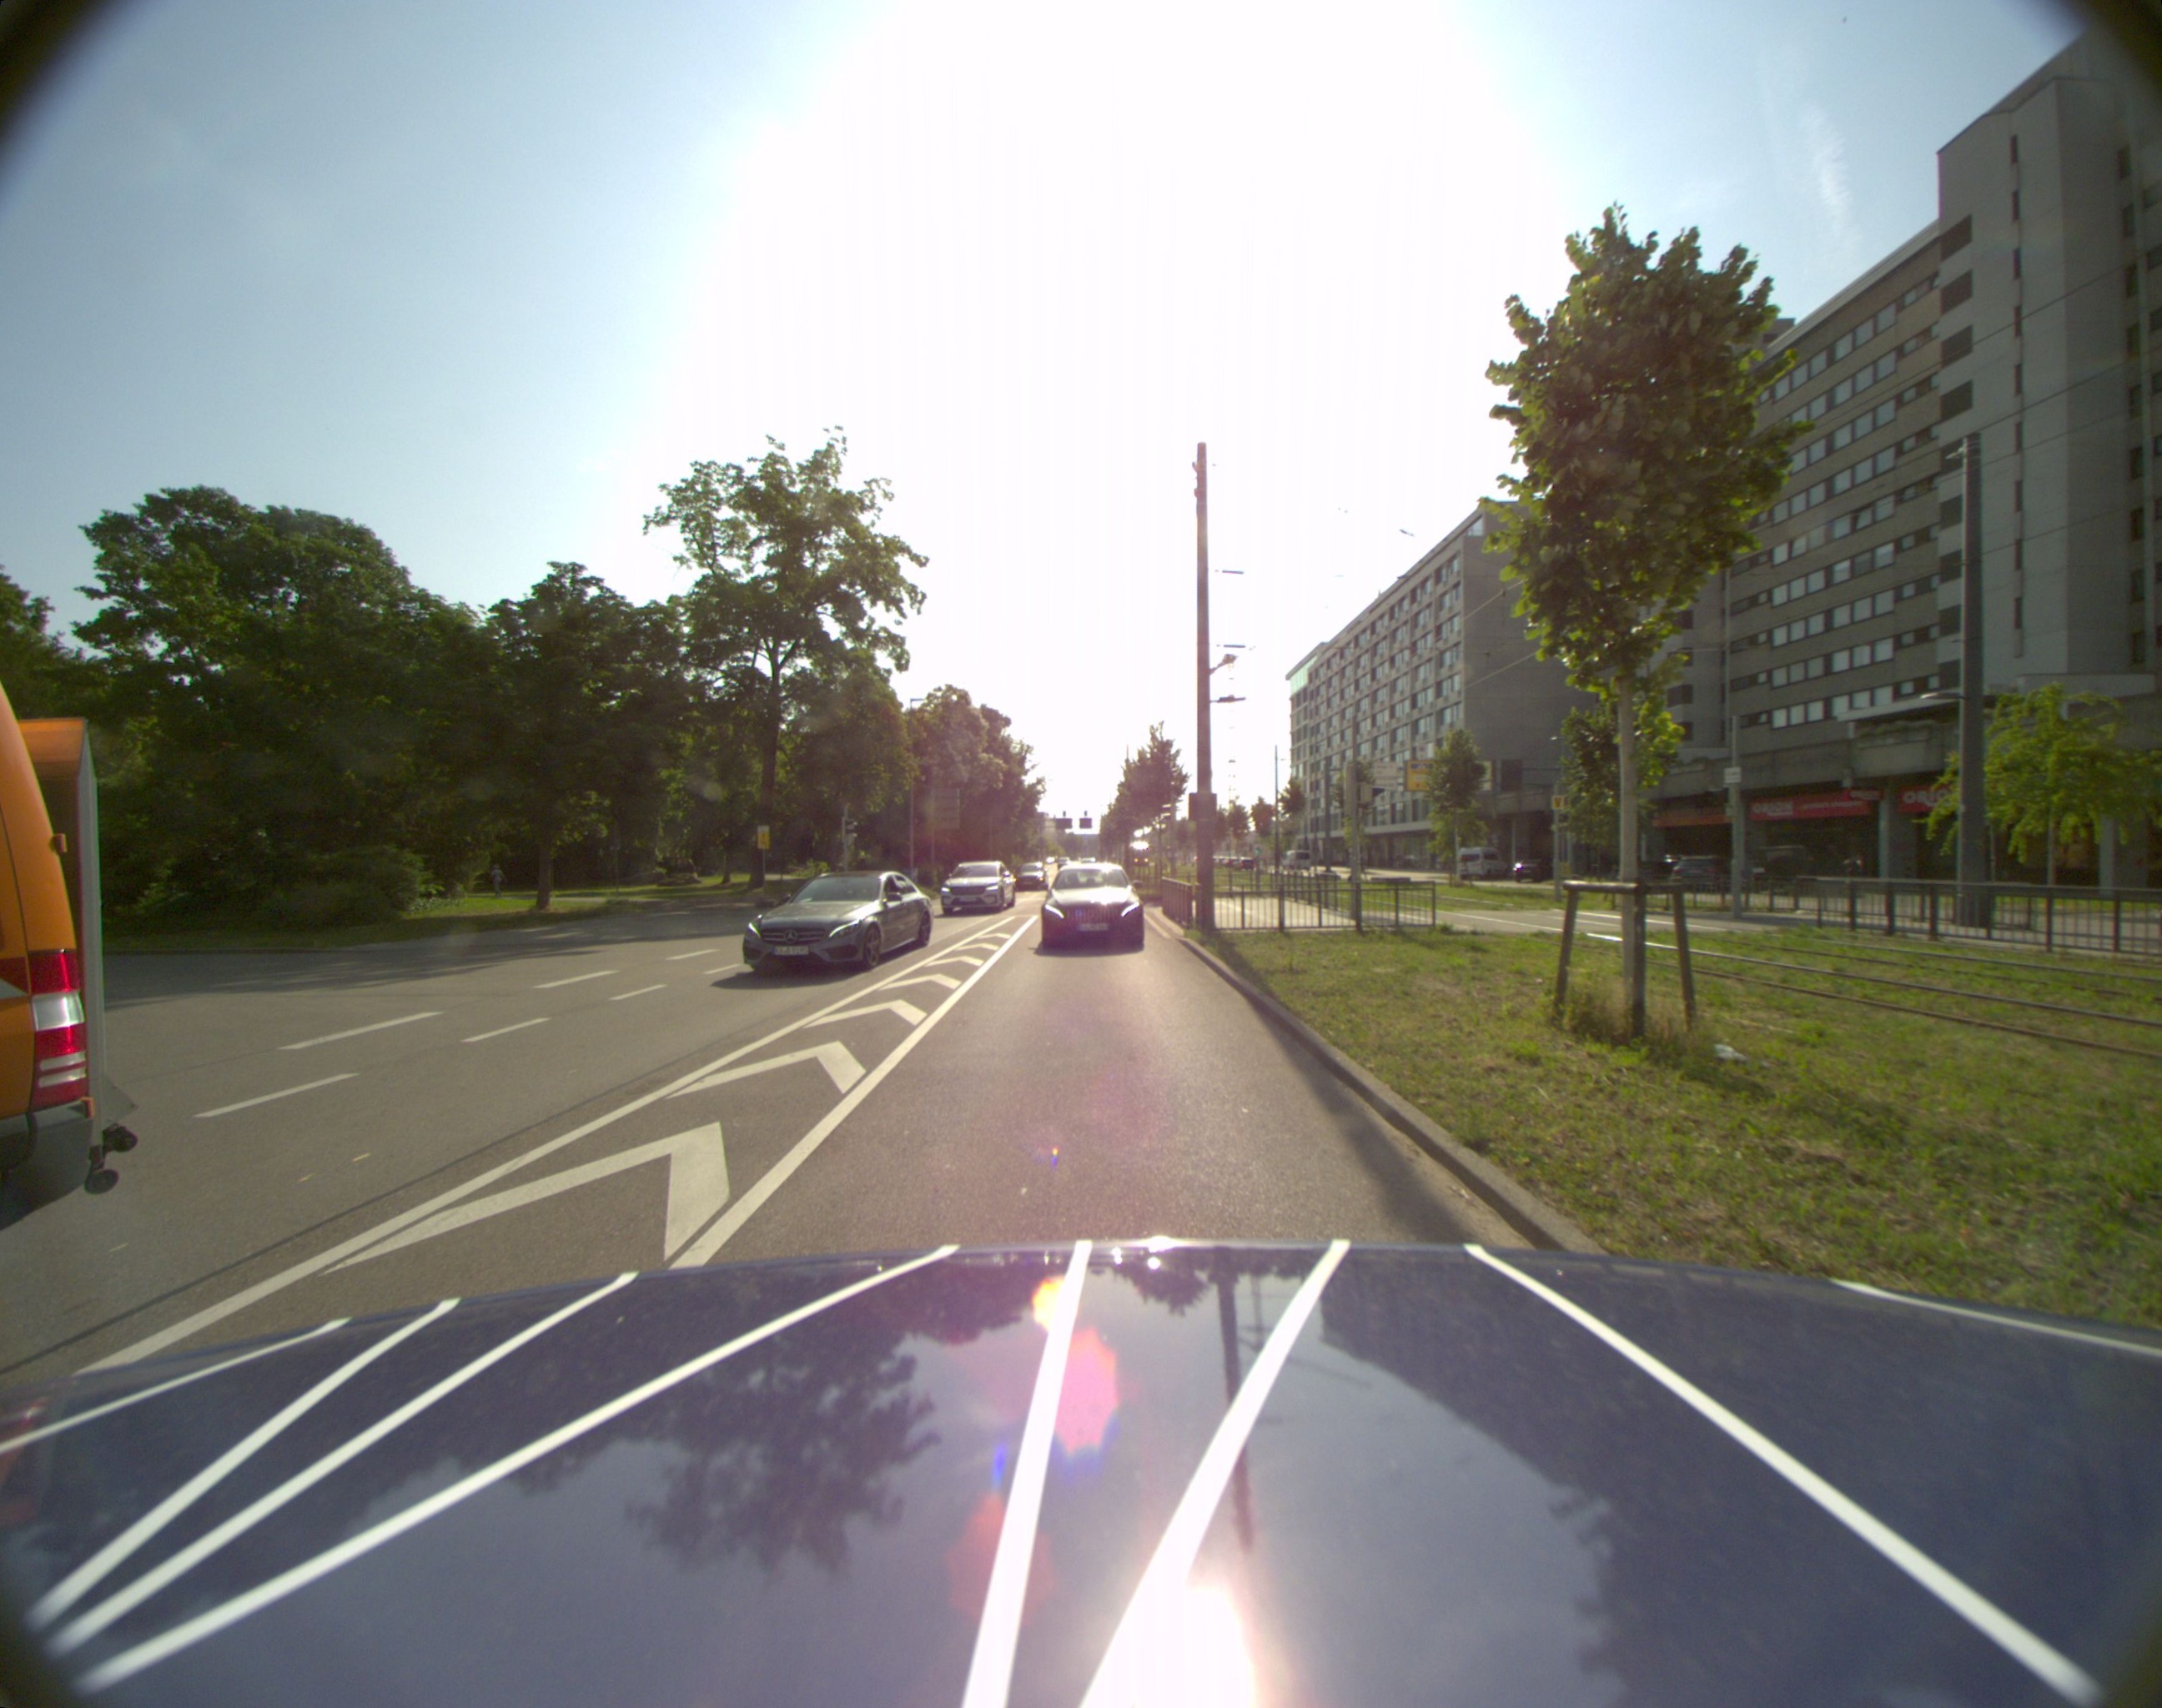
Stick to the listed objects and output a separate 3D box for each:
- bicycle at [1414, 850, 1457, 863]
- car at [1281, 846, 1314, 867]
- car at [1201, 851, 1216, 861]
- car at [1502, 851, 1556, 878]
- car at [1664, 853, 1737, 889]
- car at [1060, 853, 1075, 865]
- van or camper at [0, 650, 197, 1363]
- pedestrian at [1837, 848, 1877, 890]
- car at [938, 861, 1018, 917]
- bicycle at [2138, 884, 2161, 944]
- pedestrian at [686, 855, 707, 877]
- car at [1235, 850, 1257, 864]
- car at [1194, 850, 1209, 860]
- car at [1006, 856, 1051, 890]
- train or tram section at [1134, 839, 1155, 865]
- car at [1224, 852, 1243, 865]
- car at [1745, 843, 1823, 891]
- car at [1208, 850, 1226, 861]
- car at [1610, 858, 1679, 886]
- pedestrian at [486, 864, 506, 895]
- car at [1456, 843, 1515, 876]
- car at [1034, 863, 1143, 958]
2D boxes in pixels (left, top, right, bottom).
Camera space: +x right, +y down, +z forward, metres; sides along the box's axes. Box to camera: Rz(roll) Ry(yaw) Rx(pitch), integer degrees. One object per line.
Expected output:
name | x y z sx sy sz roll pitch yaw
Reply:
bicycle | 37.666 0.297 80.807 3.994 1.358 1.127 0 1 10
car | 23.962 0.246 84.319 2.051 2.225 5.334 -1 0 0
car | 18.483 0.303 110.223 1.811 1.466 4.001 0 0 3
car | 29.303 0.693 49.624 2.097 1.573 4.008 -3 0 44
car | 29.519 0.753 36.195 4.119 1.597 1.874 -1 1 -39
car | -1.767 0.669 99.700 1.904 1.584 4.000 0 0 1
van or camper | -4.906 0.541 0.190 1.990 2.457 6.063 -1 0 4
pedestrian | 31.697 0.600 31.052 0.744 1.686 1.115 -1 1 -42
car | -3.259 1.077 24.864 1.897 1.561 4.250 -2 0 1
bicycle | 17.460 0.959 11.523 1.609 0.929 0.558 2 0 21
pedestrian | -31.093 0.962 61.454 0.983 1.820 1.072 0 1 31
car | 18.075 0.278 83.313 1.811 1.472 4.001 0 0 3
car | 18.690 0.208 117.779 1.787 1.516 4.000 0 0 1
car | -2.690 0.972 39.654 1.998 1.630 4.000 -1 0 1
train or tram section | 8.928 -0.281 107.121 2.500 3.409 6.669 0 0 2
car | 18.203 0.492 90.945 1.745 1.478 3.642 0 0 3
car | 30.309 0.518 32.729 4.119 1.957 1.874 -1 1 -39
car | 18.372 0.182 102.803 1.811 1.565 4.001 0 0 3
car | 29.525 0.921 39.778 4.119 1.237 1.874 -3 1 -39
pedestrian | -28.384 1.235 36.875 0.668 1.509 0.535 0 1 33
car | 29.945 0.364 56.176 5.419 2.295 1.879 -1 1 -40
car | 0.177 0.969 14.963 1.759 1.437 4.618 -2 0 1
